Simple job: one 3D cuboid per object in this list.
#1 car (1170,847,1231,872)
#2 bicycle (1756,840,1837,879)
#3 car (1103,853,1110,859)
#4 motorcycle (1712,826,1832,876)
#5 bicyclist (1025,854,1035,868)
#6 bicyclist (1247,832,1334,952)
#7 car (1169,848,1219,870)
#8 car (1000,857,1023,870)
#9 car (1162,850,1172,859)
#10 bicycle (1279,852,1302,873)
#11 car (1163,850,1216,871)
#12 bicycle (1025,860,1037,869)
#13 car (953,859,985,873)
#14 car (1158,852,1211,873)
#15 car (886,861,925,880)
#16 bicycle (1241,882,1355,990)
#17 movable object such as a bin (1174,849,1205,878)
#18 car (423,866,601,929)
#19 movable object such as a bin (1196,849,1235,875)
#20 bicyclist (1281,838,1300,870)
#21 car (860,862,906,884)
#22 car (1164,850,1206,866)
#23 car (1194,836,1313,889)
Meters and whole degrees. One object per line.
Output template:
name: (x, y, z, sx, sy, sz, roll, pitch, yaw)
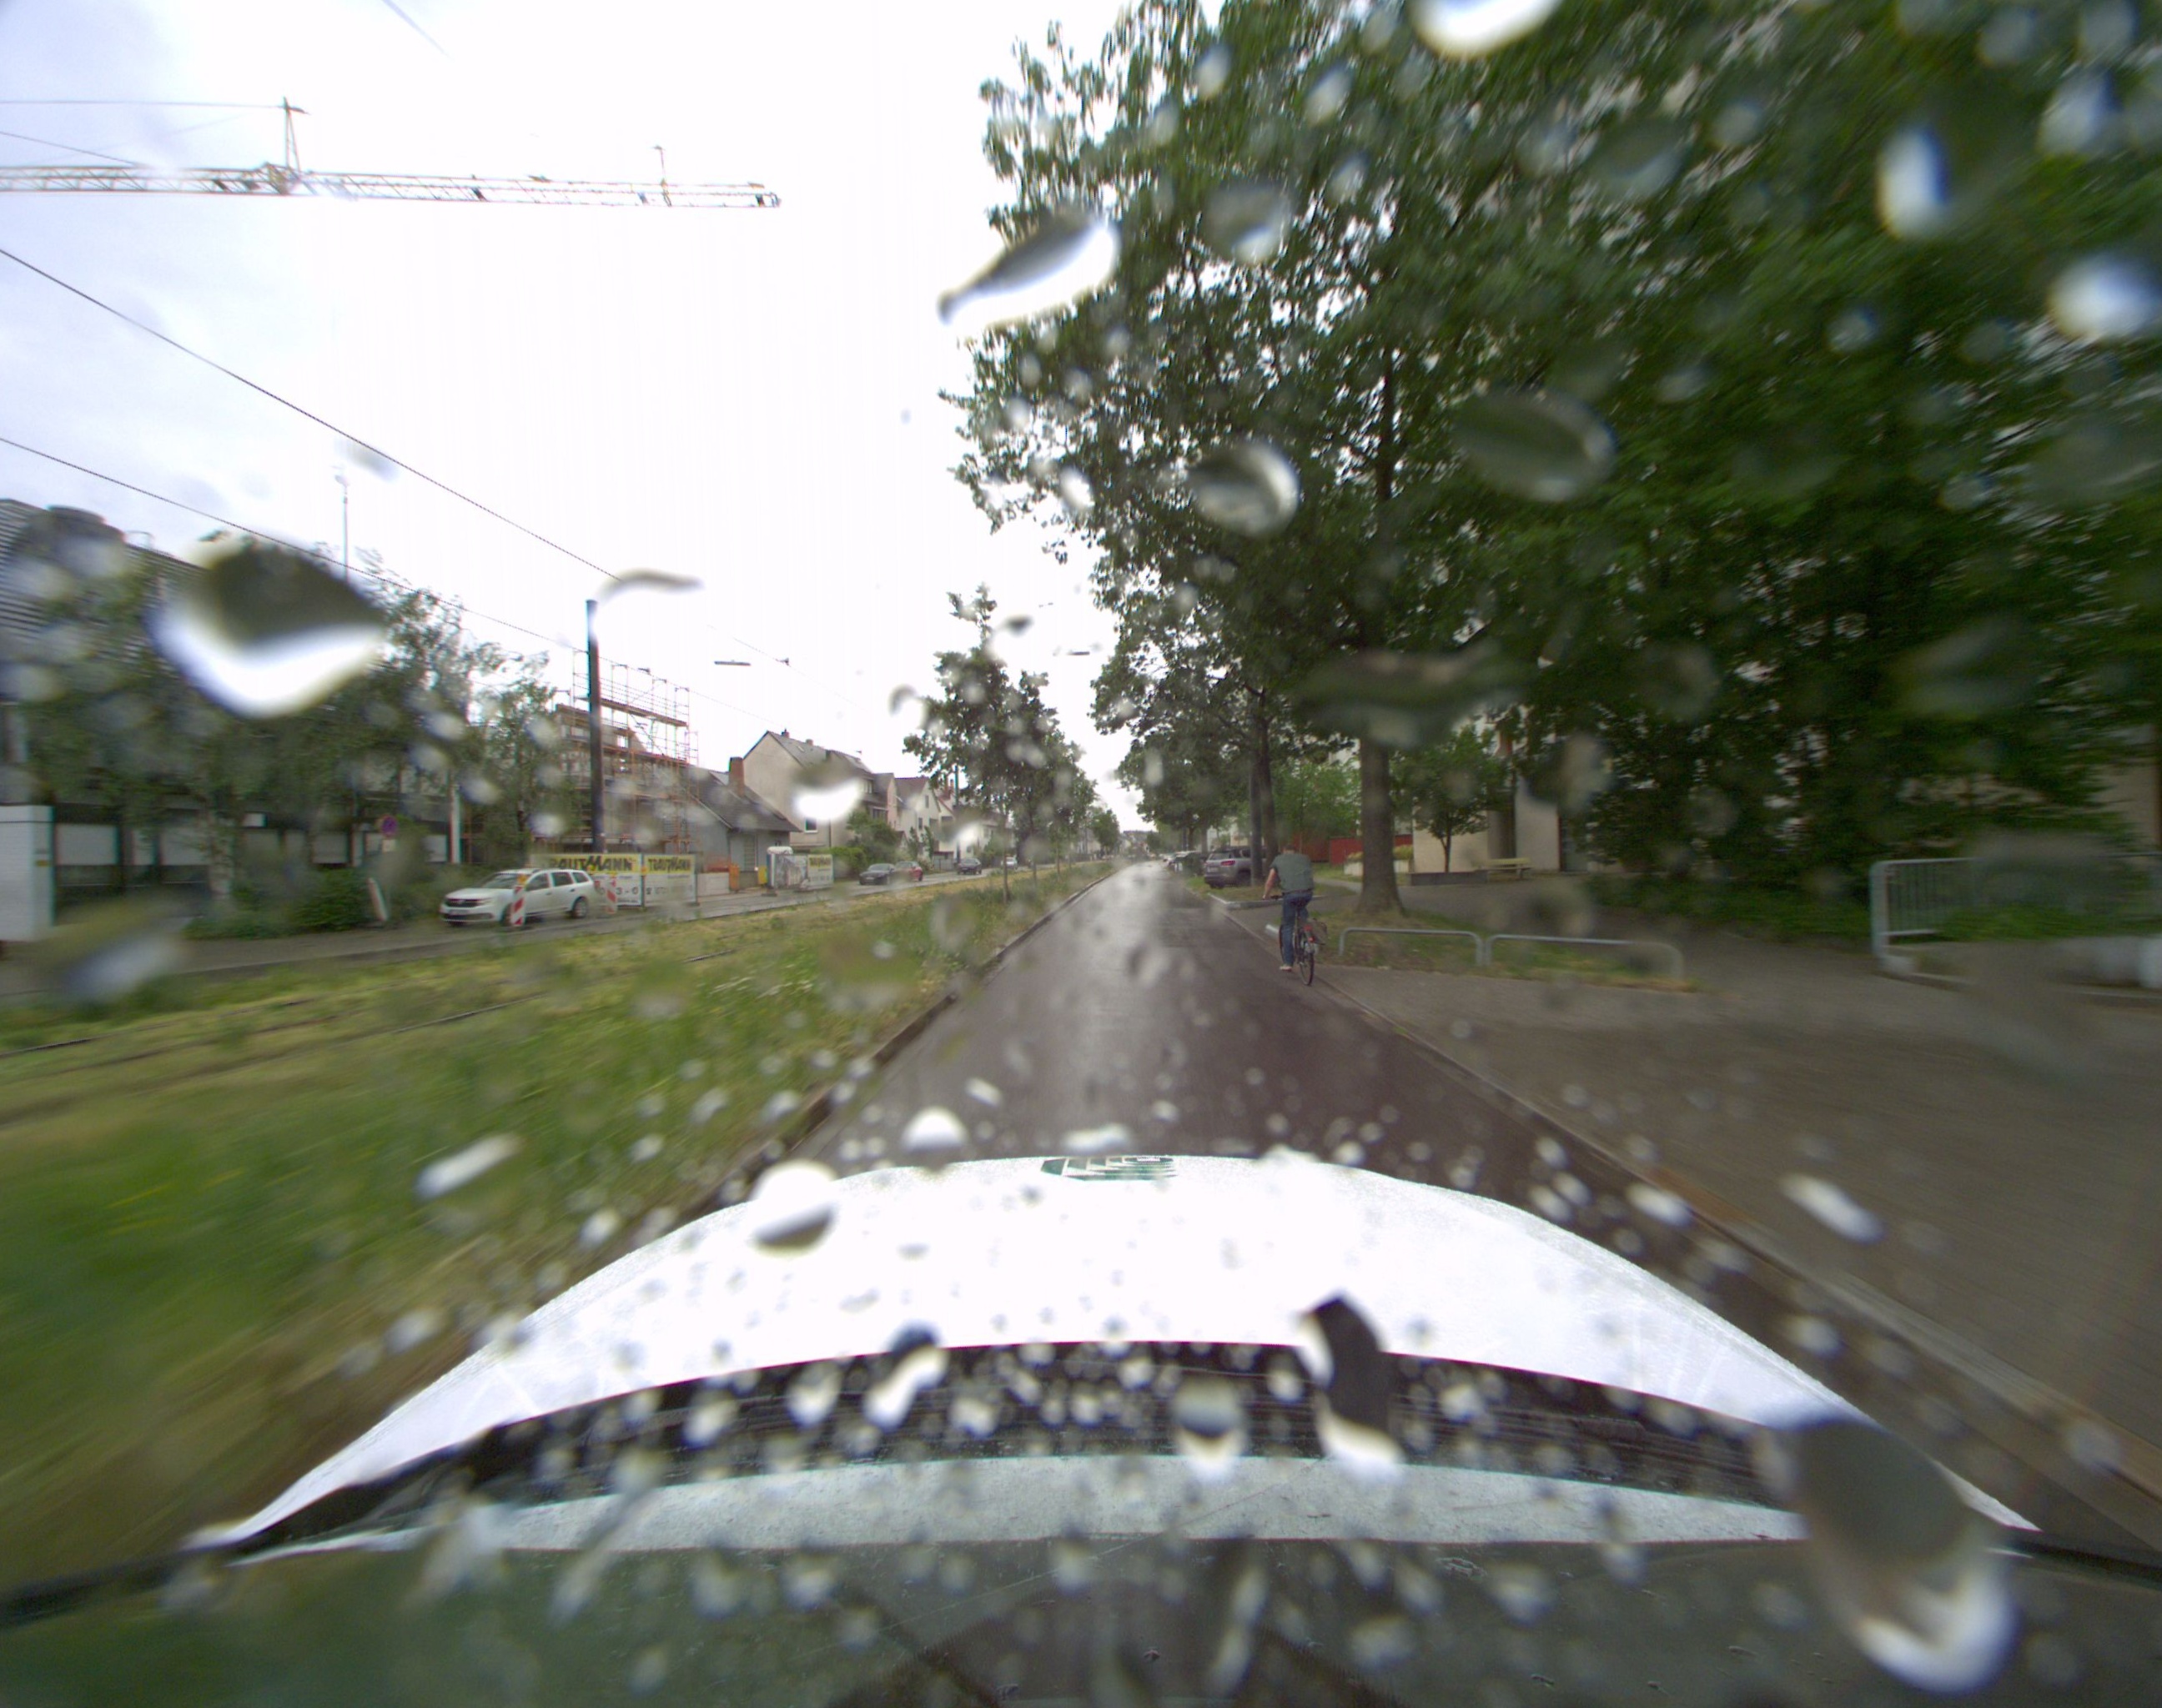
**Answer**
car: (8.142, 0.377, 55.433, 4.054, 1.519, 1.570, -2, 0, -31)
bicycle: (18.124, 0.149, 20.652, 0.410, 0.925, 1.450, -2, 0, -34)
car: (6.897, 0.479, 218.864, 1.834, 1.672, 4.005, -2, 0, 4)
motorcycle: (18.641, -0.061, 22.030, 0.889, 1.288, 2.278, -2, 0, -34)
bicyclist: (-6.368, 0.894, 102.221, 1.014, 1.685, 1.093, -2, 0, 4)
bicyclist: (2.670, 0.459, 10.474, 0.807, 1.433, 1.060, -2, 0, 1)
car: (9.399, 0.380, 67.890, 4.056, 1.703, 1.569, -2, 0, -33)
car: (-8.559, 1.188, 100.509, 1.886, 1.469, 4.697, 1, 0, 7)
car: (16.046, 0.098, 152.372, 1.825, 1.586, 4.005, -2, 0, 4)
bicycle: (10.799, 0.422, 42.052, 0.731, 1.056, 2.053, -2, 0, 4)
car: (8.139, 0.506, 61.083, 4.062, 1.443, 1.567, -2, 0, -40)
bicycle: (-6.302, 1.318, 102.955, 1.014, 1.027, 3.200, -2, 0, 4)
car: (-10.710, 1.106, 78.428, 1.886, 1.244, 4.697, 1, 0, 7)
car: (8.229, 0.667, 64.538, 4.056, 1.443, 1.569, -2, 0, -33)
car: (-12.396, 1.172, 57.746, 1.667, 1.244, 3.860, 1, 0, 5)
bicycle: (2.693, 0.961, 10.426, 0.806, 1.096, 2.518, -2, 0, 1)
movable object such as a bin: (6.036, 0.517, 45.366, 1.128, 1.457, 1.393, -7, 2, -17)
car: (-16.049, 1.158, 23.315, 1.702, 1.542, 4.428, 1, 0, 5)
movable object such as a bin: (7.526, 0.452, 45.593, 1.686, 1.326, 1.393, -4, 1, -17)
bicyclist: (10.778, -0.001, 42.015, 0.731, 1.594, 0.945, -2, 0, 3)
car: (-12.721, 1.207, 52.565, 1.656, 1.244, 4.076, 1, 0, 4)
car: (10.529, 0.397, 82.402, 4.056, 1.513, 1.569, -2, 0, -33)
car: (6.718, 0.306, 31.645, 4.160, 1.719, 1.982, -5, 1, -29)
